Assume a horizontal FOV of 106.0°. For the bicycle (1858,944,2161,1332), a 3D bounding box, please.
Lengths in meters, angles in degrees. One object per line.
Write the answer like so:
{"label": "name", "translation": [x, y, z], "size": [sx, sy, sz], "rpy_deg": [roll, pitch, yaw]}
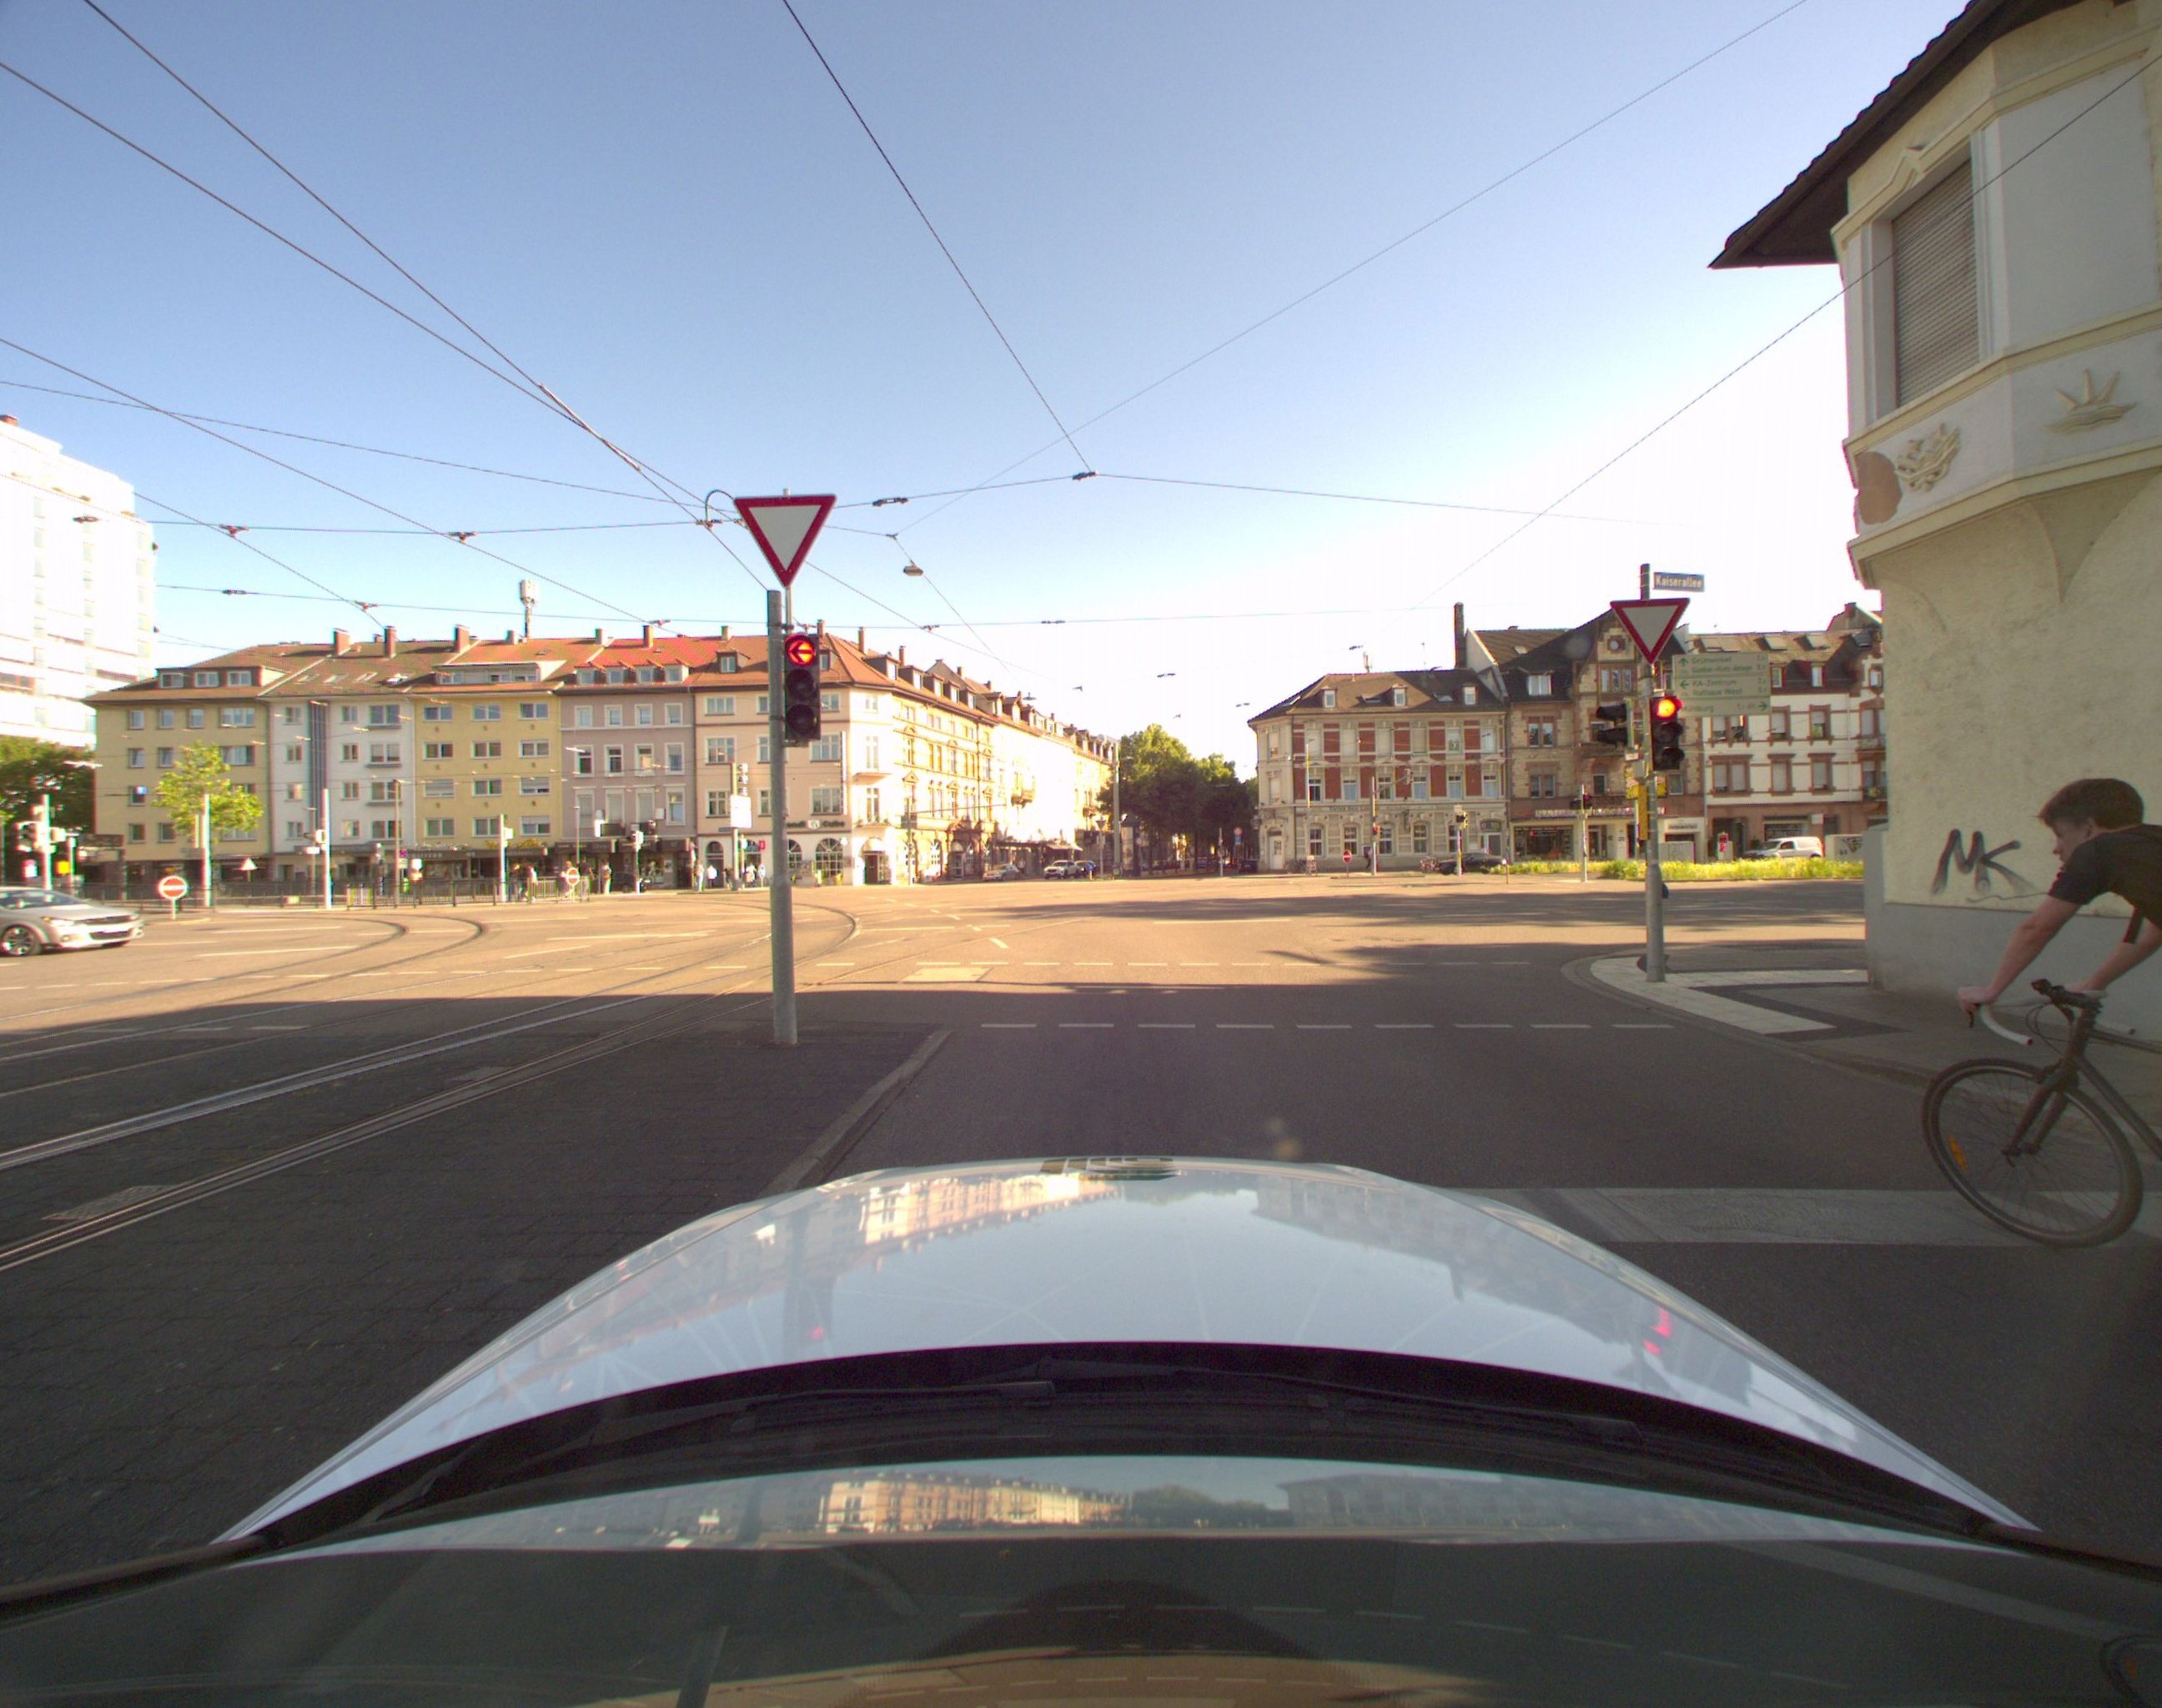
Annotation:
{"label": "bicycle", "translation": [3.559, 0.917, 2.500], "size": [0.568, 1.058, 1.890], "rpy_deg": [-1, 0, 2]}

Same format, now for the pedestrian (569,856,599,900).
{"label": "pedestrian", "translation": [-21.249, 1.012, 34.826], "size": [0.764, 1.829, 0.723], "rpy_deg": [-1, 0, 1]}

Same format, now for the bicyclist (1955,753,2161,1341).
{"label": "bicyclist", "translation": [3.557, 0.575, 2.498], "size": [0.649, 1.767, 0.995], "rpy_deg": [-1, 0, 2]}

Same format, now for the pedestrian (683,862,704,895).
{"label": "pedestrian", "translation": [-20.060, 1.270, 42.130], "size": [0.738, 1.682, 0.628], "rpy_deg": [-1, 0, 1]}

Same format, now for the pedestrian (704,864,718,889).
{"label": "pedestrian", "translation": [-26.047, 1.584, 57.392], "size": [0.740, 1.682, 0.626], "rpy_deg": [-1, 0, -10]}

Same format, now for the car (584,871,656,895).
{"label": "car", "translation": [-30.334, 1.898, 53.697], "size": [3.711, 1.491, 1.820], "rpy_deg": [0, -1, 4]}

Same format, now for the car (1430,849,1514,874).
{"label": "car", "translation": [22.850, 0.427, 47.704], "size": [4.044, 1.300, 1.723], "rpy_deg": [-1, 0, 2]}

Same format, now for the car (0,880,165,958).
{"label": "car", "translation": [-22.070, 1.359, 16.702], "size": [4.262, 1.440, 1.738], "rpy_deg": [-2, 0, -6]}

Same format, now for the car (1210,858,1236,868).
{"label": "car", "translation": [19.378, 1.216, 111.187], "size": [3.409, 1.239, 1.582], "rpy_deg": [-1, 0, 13]}

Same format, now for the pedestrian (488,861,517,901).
{"label": "pedestrian", "translation": [-24.293, 1.142, 34.200], "size": [0.738, 1.635, 0.572], "rpy_deg": [-1, 0, 1]}

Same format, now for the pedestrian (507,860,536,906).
{"label": "pedestrian", "translation": [-23.351, 1.196, 34.018], "size": [0.625, 1.850, 0.778], "rpy_deg": [-1, 0, 1]}

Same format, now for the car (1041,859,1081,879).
{"label": "car", "translation": [-1.592, 1.217, 67.667], "size": [1.977, 1.516, 4.189], "rpy_deg": [-1, 0, 18]}

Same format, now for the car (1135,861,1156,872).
{"label": "car", "translation": [9.243, 1.815, 116.821], "size": [1.977, 1.404, 4.189], "rpy_deg": [-1, 0, 18]}

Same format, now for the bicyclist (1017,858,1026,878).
{"label": "bicyclist", "translation": [-4.770, 1.093, 65.468], "size": [0.486, 1.601, 0.668], "rpy_deg": [-1, 0, 12]}

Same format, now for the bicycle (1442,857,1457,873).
{"label": "bicycle", "translation": [23.853, 0.684, 52.754], "size": [0.483, 1.020, 1.789], "rpy_deg": [-1, 0, 12]}

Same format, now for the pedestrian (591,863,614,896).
{"label": "pedestrian", "translation": [-24.907, 1.304, 42.376], "size": [0.764, 1.682, 0.628], "rpy_deg": [-1, 0, 1]}

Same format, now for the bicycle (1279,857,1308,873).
{"label": "bicycle", "translation": [14.911, 0.750, 57.138], "size": [1.940, 1.054, 0.717], "rpy_deg": [-1, 0, 11]}

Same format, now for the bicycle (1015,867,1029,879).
{"label": "bicycle", "translation": [-4.764, 1.530, 65.566], "size": [0.650, 1.000, 1.671], "rpy_deg": [-1, -1, 14]}

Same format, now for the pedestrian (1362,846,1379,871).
{"label": "pedestrian", "translation": [20.045, 0.284, 56.384], "size": [1.029, 1.712, 0.631], "rpy_deg": [-1, -1, 10]}

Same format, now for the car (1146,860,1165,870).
{"label": "car", "translation": [11.197, 1.691, 122.499], "size": [1.977, 1.404, 4.189], "rpy_deg": [-1, 0, 18]}

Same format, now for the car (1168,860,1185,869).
{"label": "car", "translation": [16.027, 1.741, 136.417], "size": [1.977, 1.404, 4.189], "rpy_deg": [-1, 0, 18]}

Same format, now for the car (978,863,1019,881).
{"label": "car", "translation": [-6.761, 1.476, 67.360], "size": [1.977, 1.361, 3.836], "rpy_deg": [-1, 0, 18]}

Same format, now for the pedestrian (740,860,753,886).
{"label": "pedestrian", "translation": [-21.734, 1.249, 52.959], "size": [0.744, 1.682, 0.623], "rpy_deg": [-1, 0, -23]}

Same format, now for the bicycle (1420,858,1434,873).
{"label": "bicycle", "translation": [22.481, 0.732, 52.976], "size": [0.483, 0.914, 1.789], "rpy_deg": [-1, 0, 12]}

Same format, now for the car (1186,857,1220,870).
{"label": "car", "translation": [14.960, 1.157, 99.505], "size": [3.959, 1.454, 1.687], "rpy_deg": [-1, 0, 13]}

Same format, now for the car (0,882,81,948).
{"label": "car", "translation": [-27.359, 1.509, 19.683], "size": [3.948, 1.498, 1.739], "rpy_deg": [-1, 0, -5]}

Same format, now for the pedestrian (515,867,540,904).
{"label": "pedestrian", "translation": [-24.441, 1.392, 35.950], "size": [0.696, 1.581, 0.560], "rpy_deg": [-1, 0, 1]}

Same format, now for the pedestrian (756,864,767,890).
{"label": "pedestrian", "translation": [-15.786, 1.132, 40.225], "size": [0.364, 1.253, 0.449], "rpy_deg": [-1, 0, -10]}

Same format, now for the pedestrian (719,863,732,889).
{"label": "pedestrian", "translation": [-23.077, 1.407, 52.929], "size": [0.744, 1.682, 0.623], "rpy_deg": [-1, 0, -23]}

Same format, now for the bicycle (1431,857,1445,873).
{"label": "bicycle", "translation": [23.157, 0.722, 52.872], "size": [0.483, 1.020, 1.789], "rpy_deg": [-1, 0, 12]}

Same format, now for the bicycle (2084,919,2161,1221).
{"label": "bicycle", "translation": [4.502, 0.857, 2.486], "size": [0.568, 1.165, 1.890], "rpy_deg": [-1, 0, 2]}

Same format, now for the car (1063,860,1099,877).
{"label": "car", "translation": [0.029, 1.311, 73.804], "size": [1.977, 1.404, 4.189], "rpy_deg": [-1, 0, 18]}

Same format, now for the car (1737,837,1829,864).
{"label": "car", "translation": [45.290, -0.242, 52.600], "size": [4.239, 1.622, 1.999], "rpy_deg": [-1, 0, -1]}

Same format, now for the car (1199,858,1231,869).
{"label": "car", "translation": [17.333, 1.227, 105.159], "size": [3.959, 1.288, 1.700], "rpy_deg": [-1, 0, 13]}

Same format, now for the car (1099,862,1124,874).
{"label": "car", "translation": [3.829, 1.712, 102.173], "size": [1.977, 1.404, 4.189], "rpy_deg": [-1, 0, 18]}

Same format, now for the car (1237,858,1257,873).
{"label": "car", "translation": [16.797, 1.133, 82.291], "size": [1.742, 1.420, 4.016], "rpy_deg": [-1, 0, 14]}

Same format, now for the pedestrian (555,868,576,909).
{"label": "pedestrian", "translation": [-22.615, 1.505, 35.735], "size": [0.558, 1.786, 0.560], "rpy_deg": [-1, 0, 1]}

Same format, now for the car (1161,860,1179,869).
{"label": "car", "translation": [14.327, 1.711, 131.257], "size": [1.977, 1.404, 4.189], "rpy_deg": [-1, 0, 18]}

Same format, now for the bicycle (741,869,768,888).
{"label": "bicycle", "translation": [-23.139, 1.728, 57.658], "size": [1.714, 1.276, 0.385], "rpy_deg": [-1, 0, -16]}
